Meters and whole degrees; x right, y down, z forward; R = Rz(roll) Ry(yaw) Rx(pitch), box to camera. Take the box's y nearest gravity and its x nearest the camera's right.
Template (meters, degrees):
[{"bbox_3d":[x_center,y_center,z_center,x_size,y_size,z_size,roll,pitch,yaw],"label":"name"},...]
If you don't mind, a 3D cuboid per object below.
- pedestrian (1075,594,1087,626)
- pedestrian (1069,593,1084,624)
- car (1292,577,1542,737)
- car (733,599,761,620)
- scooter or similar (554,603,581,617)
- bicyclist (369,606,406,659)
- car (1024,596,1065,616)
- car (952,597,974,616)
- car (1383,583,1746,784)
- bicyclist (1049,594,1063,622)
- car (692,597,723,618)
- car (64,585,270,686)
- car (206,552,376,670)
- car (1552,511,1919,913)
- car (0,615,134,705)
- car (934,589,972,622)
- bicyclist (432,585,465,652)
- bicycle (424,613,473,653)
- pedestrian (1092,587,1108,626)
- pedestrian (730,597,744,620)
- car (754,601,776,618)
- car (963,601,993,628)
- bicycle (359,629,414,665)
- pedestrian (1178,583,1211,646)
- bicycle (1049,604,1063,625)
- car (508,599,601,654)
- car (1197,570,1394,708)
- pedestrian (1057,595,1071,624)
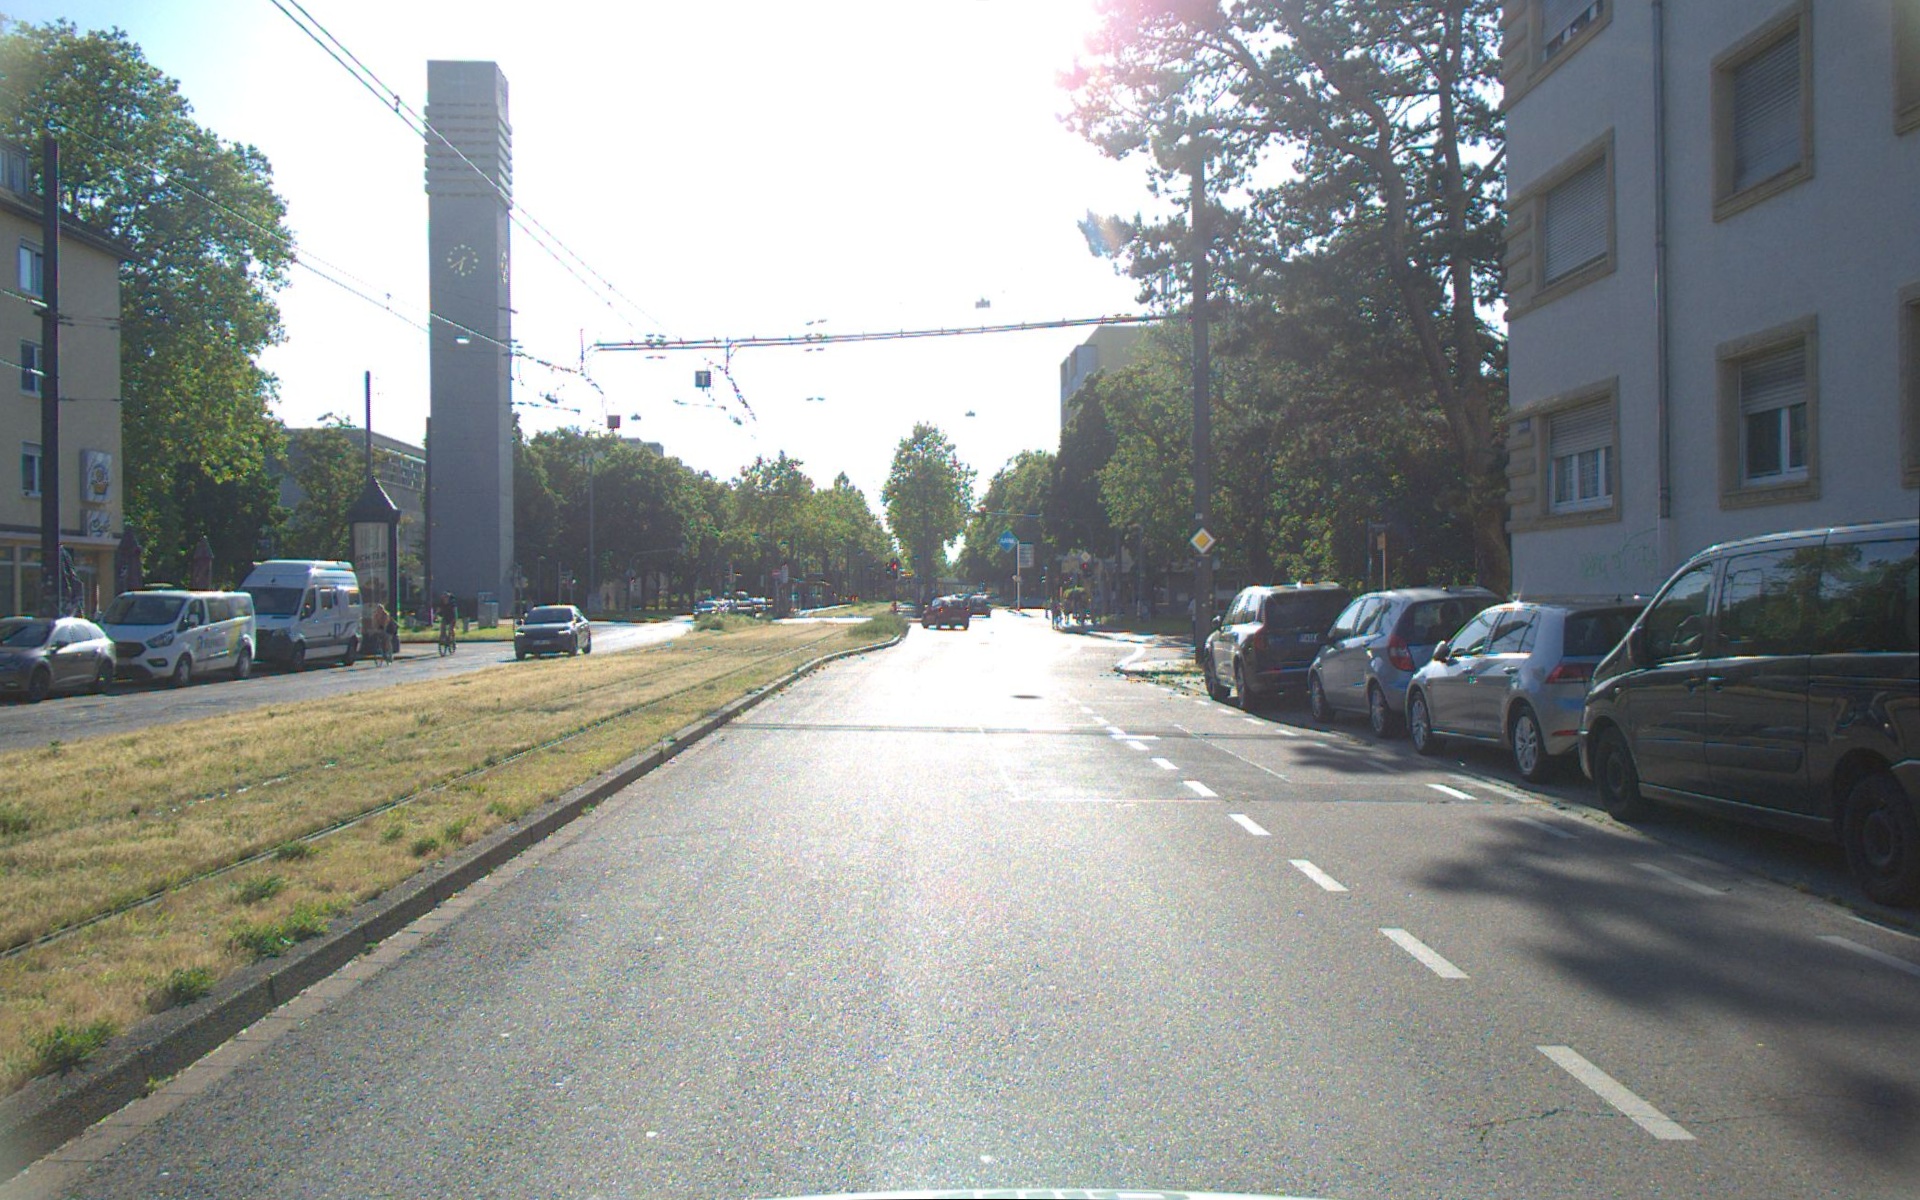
[{"bbox_3d":[5.835,0.477,79.583,0.518,1.555,0.628,-2,-1,4],"label":"pedestrian"},{"bbox_3d":[6.342,0.464,90.201,0.714,1.711,0.533,2,0,11],"label":"pedestrian"},{"bbox_3d":[5.193,0.600,19.323,1.562,1.606,3.893,-3,0,-4],"label":"car"},{"bbox_3d":[-16.639,0.725,129.241,1.653,1.560,4.360,-1,0,-1],"label":"car"},{"bbox_3d":[-26.496,0.678,111.657,1.707,0.915,0.561,-1,0,-17],"label":"scooter or similar"},{"bbox_3d":[-15.512,0.874,44.797,0.757,1.408,0.648,-1,0,-1],"label":"bicyclist"},{"bbox_3d":[8.751,0.644,171.031,3.902,1.892,2.013,2,0,10],"label":"car"},{"bbox_3d":[0.245,0.601,153.462,1.856,1.639,4.498,2,0,-2],"label":"car"},{"bbox_3d":[5.256,0.658,15.010,1.480,1.504,4.235,-2,0,-4],"label":"car"},{"bbox_3d":[4.746,0.388,81.952,0.625,1.346,0.803,2,0,1],"label":"bicyclist"},{"bbox_3d":[-19.596,0.562,128.604,1.770,1.560,4.360,-1,0,-1],"label":"car"},{"bbox_3d":[-17.639,0.740,37.130,1.991,2.056,5.370,2,0,0],"label":"car"},{"bbox_3d":[-17.774,0.277,44.347,1.990,2.919,6.227,1,0,0],"label":"car"},{"bbox_3d":[5.462,0.485,9.758,1.874,1.932,5.133,-4,0,-2],"label":"car"},{"bbox_3d":[-17.431,1.077,31.287,1.661,1.541,4.323,0,0,-4],"label":"car"},{"bbox_3d":[-0.368,0.267,80.612,1.660,1.535,3.697,1,0,-3],"label":"car"},{"bbox_3d":[-15.978,0.574,51.694,0.757,2.049,0.648,2,0,-1],"label":"bicyclist"},{"bbox_3d":[-15.958,1.007,51.626,0.753,1.166,2.474,-3,0,-1],"label":"bicycle"},{"bbox_3d":[6.720,0.309,79.370,0.688,1.821,0.694,-3,1,4],"label":"pedestrian"},{"bbox_3d":[-16.335,0.644,121.214,0.873,1.634,0.613,2,0,-1],"label":"pedestrian"},{"bbox_3d":[-17.585,0.853,149.032,1.534,1.426,3.914,2,0,-1],"label":"car"},{"bbox_3d":[1.329,1.042,123.236,1.929,1.892,3.998,2,0,-3],"label":"car"},{"bbox_3d":[-15.530,1.261,44.838,0.753,0.895,2.068,-2,0,-1],"label":"bicycle"},{"bbox_3d":[6.661,0.414,46.984,0.862,1.752,0.725,-1,0,4],"label":"pedestrian"},{"bbox_3d":[4.742,0.699,82.039,0.634,0.989,1.804,2,0,2],"label":"bicycle"},{"bbox_3d":[-11.716,0.736,48.030,1.660,1.473,4.217,-2,0,0],"label":"car"},{"bbox_3d":[4.891,0.531,24.830,1.841,1.746,4.933,-4,0,0],"label":"car"},{"bbox_3d":[5.669,0.510,90.197,0.633,1.549,0.496,2,0,11],"label":"pedestrian"}]
